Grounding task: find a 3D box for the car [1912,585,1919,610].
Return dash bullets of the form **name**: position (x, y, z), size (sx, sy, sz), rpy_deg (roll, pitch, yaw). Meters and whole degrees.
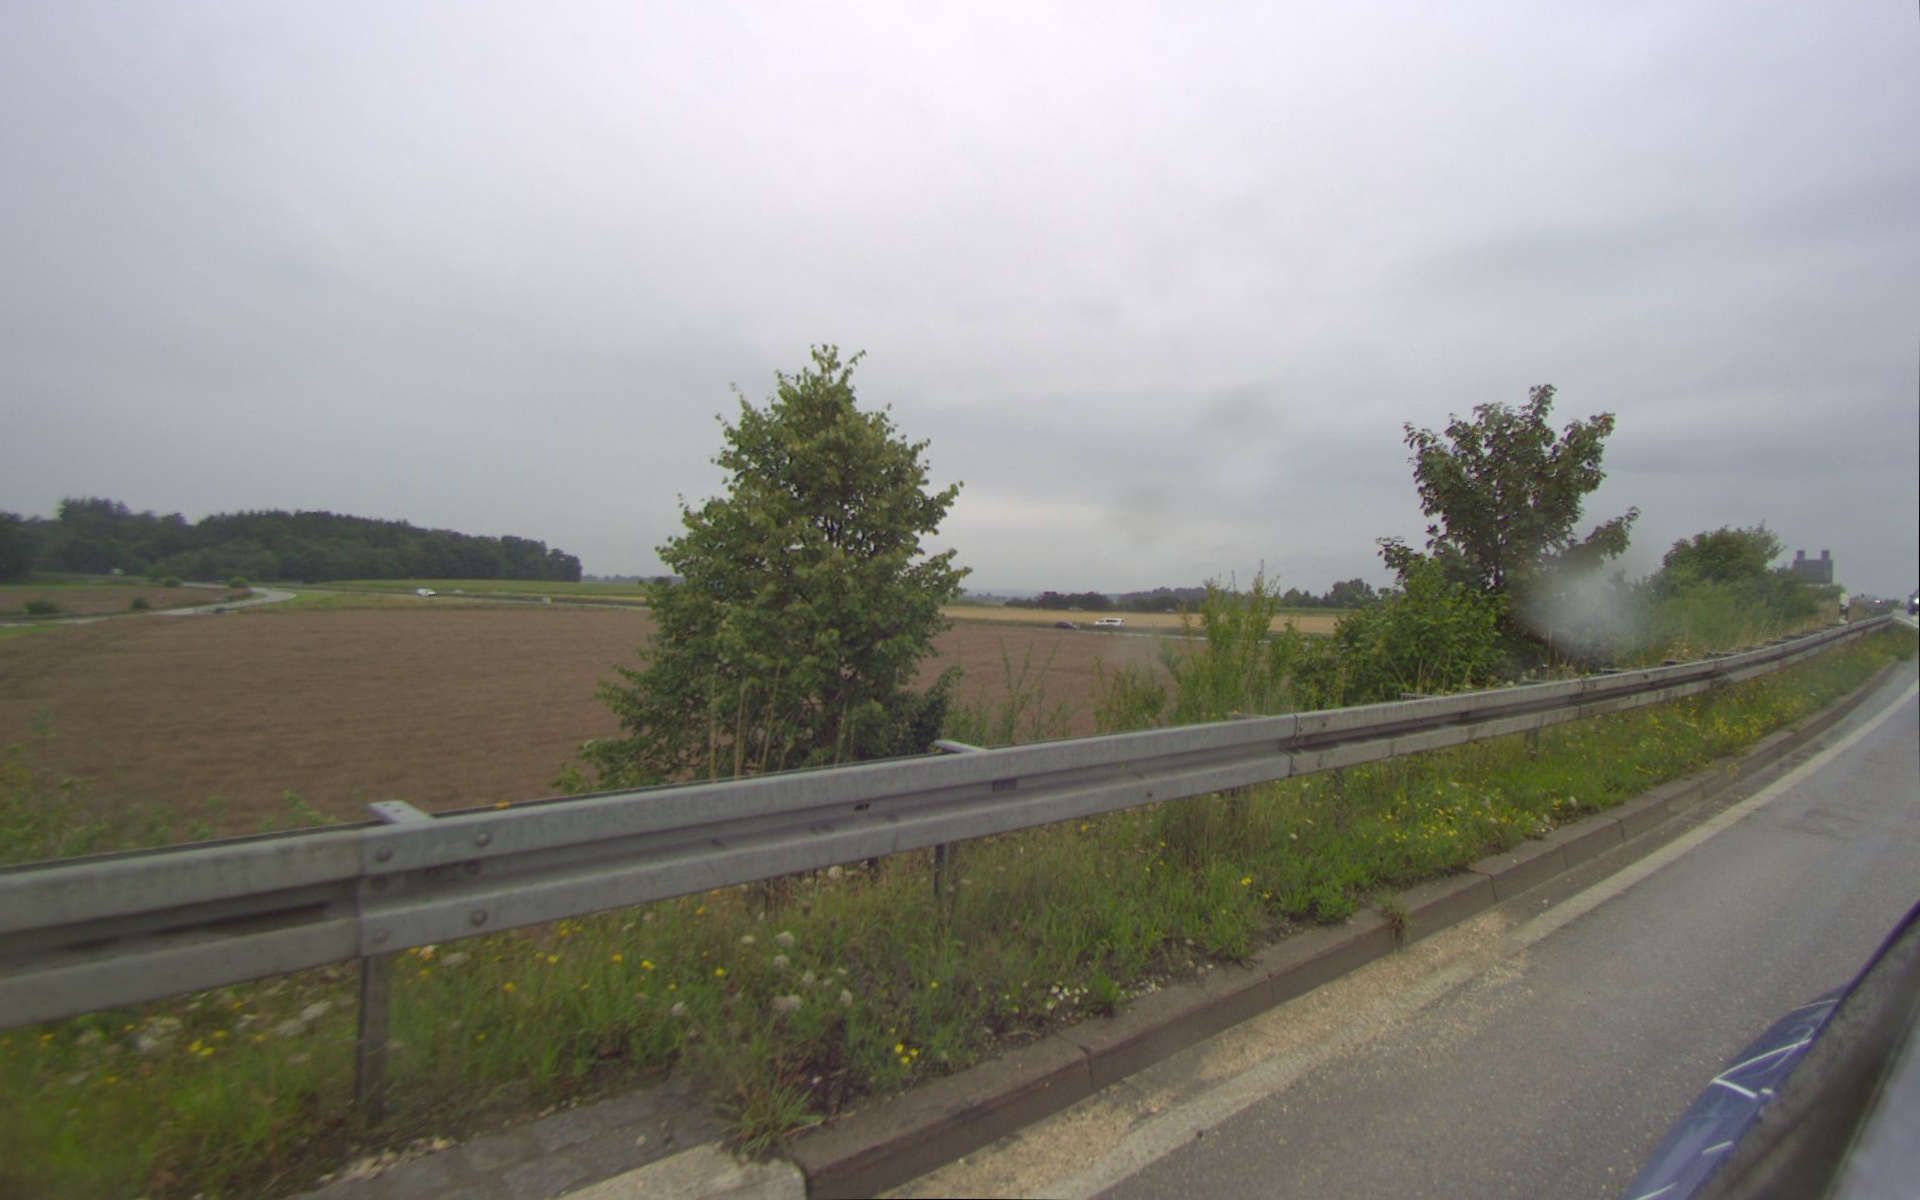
- **car**: position (55.200, -0.140, 57.217), size (1.904, 1.386, 4.494), rpy_deg (1, 1, 43)
